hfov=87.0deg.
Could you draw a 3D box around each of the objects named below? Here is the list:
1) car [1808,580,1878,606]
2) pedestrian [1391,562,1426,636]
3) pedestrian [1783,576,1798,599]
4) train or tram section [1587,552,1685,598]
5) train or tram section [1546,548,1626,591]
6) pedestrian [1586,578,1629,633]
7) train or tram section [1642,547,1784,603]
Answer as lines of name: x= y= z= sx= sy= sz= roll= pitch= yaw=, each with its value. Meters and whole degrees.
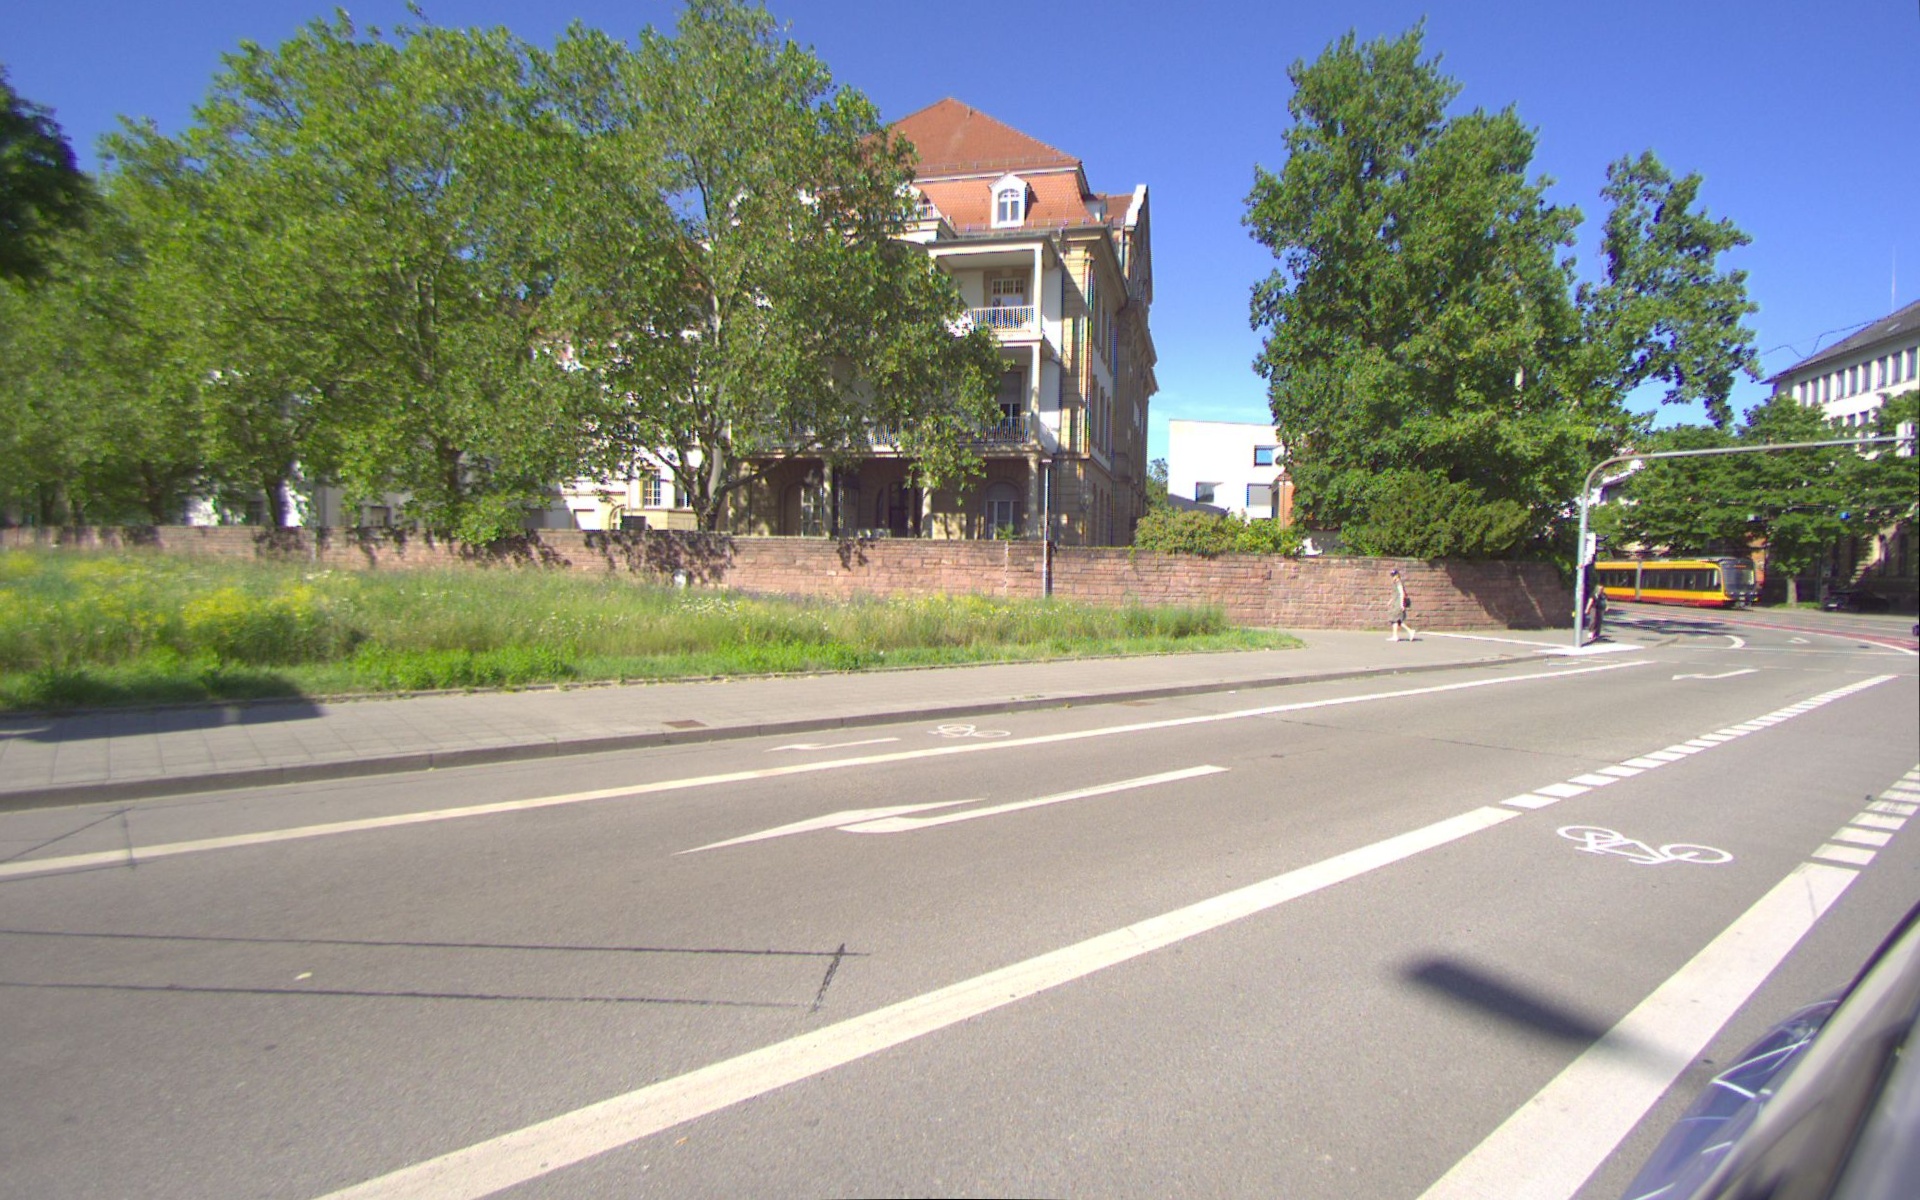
car: x=60.180 y=-0.514 z=69.047 sx=1.806 sy=1.615 sz=3.988 roll=2 pitch=2 yaw=11
pedestrian: x=11.651 y=-0.039 z=26.317 sx=0.779 sy=1.881 sz=0.625 roll=2 pitch=2 yaw=25
pedestrian: x=69.287 y=-1.066 z=84.450 sx=0.568 sy=1.927 sz=0.849 roll=1 pitch=1 yaw=12
train or tram section: x=56.331 y=-2.124 z=84.781 sx=2.898 sy=3.563 sz=11.630 roll=2 pitch=2 yaw=14
train or tram section: x=59.129 y=-2.899 z=95.990 sx=2.898 sy=3.728 sz=11.630 roll=2 pitch=2 yaw=14
pedestrian: x=20.351 y=0.159 z=31.800 sx=0.618 sy=1.687 sz=0.933 roll=0 pitch=2 yaw=-35
train or tram section: x=53.350 y=-1.840 z=72.389 sx=2.898 sy=3.563 sz=13.784 roll=2 pitch=2 yaw=14
